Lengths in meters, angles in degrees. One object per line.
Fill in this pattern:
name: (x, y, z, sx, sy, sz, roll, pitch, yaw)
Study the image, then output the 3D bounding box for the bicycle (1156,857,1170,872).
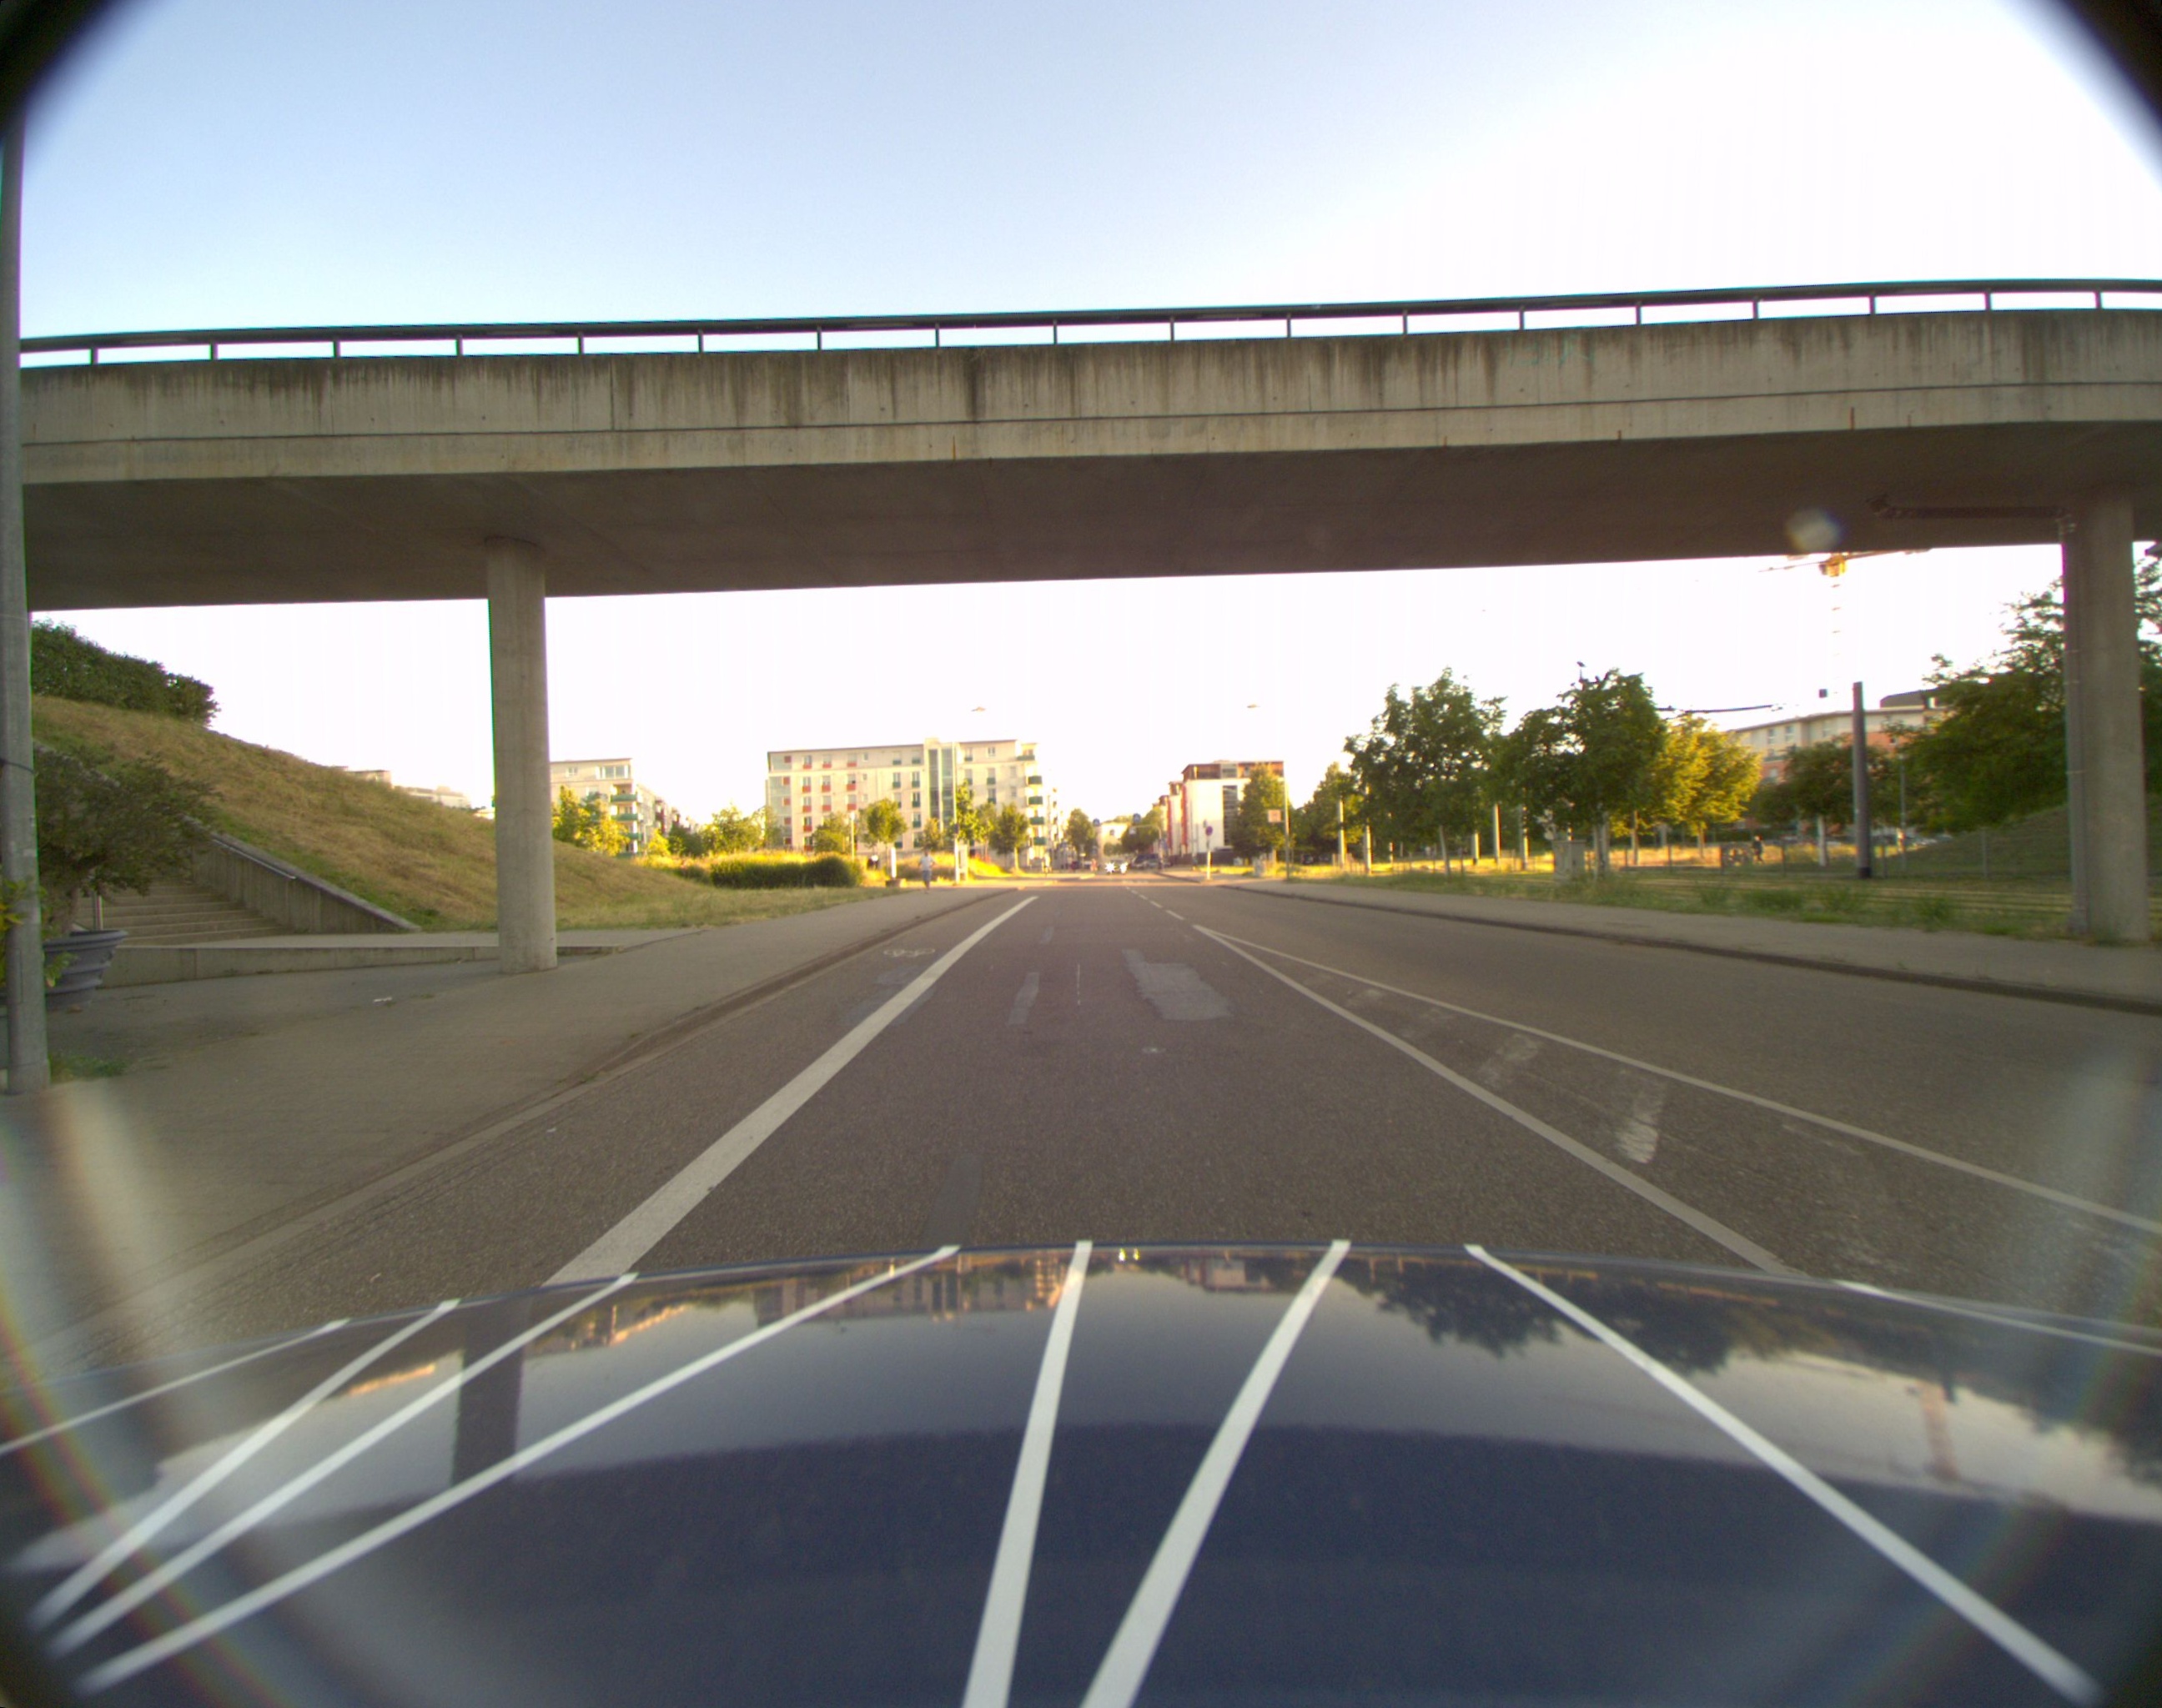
bicycle: (9.211, 1.143, 85.499, 1.018, 1.560, 3.542, -2, 0, -2)

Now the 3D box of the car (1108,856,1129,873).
car: (3.388, 0.909, 69.844, 1.739, 1.455, 4.000, -2, 0, 1)

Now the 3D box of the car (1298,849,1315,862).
car: (28.813, 0.166, 97.123, 1.942, 1.521, 4.004, -2, 0, 14)

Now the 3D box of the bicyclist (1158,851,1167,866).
bicyclist: (9.176, 0.544, 85.965, 0.858, 1.653, 0.919, -2, 0, -1)

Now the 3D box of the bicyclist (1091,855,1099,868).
bicyclist: (1.912, 1.024, 103.687, 0.696, 1.630, 0.853, -2, 0, 31)

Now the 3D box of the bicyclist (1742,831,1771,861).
bicyclist: (37.153, -0.423, 41.786, 0.909, 1.622, 0.717, -2, 0, -1)

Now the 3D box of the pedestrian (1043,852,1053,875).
pedestrian: (-2.519, 0.724, 57.566, 0.737, 1.714, 0.532, 0, 0, 1)

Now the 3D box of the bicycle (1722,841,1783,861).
bicycle: (36.863, -0.162, 41.727, 2.842, 1.002, 0.655, -2, 0, -3)

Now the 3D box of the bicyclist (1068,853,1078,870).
bicyclist: (-0.749, 0.728, 72.785, 0.932, 1.585, 1.068, -2, 0, 0)

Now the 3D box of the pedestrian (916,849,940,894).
pedestrian: (-5.914, 0.654, 29.437, 0.737, 1.714, 0.906, 0, 0, 1)

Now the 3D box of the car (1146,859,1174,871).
car: (11.772, 1.657, 113.956, 3.996, 1.718, 2.000, -2, 0, 2)

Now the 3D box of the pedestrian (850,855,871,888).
pedestrian: (-10.858, 0.852, 37.423, 0.737, 1.620, 0.859, 0, 0, 2)

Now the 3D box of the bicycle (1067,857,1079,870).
bicycle: (-0.795, 0.919, 73.621, 0.900, 1.142, 3.497, -2, 0, -4)

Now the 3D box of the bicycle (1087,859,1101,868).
bicycle: (1.829, 1.263, 103.525, 0.661, 1.217, 2.444, -2, 0, 34)

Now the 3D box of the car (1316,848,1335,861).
car: (31.088, 0.023, 96.644, 1.942, 1.521, 4.004, -2, 0, 14)
